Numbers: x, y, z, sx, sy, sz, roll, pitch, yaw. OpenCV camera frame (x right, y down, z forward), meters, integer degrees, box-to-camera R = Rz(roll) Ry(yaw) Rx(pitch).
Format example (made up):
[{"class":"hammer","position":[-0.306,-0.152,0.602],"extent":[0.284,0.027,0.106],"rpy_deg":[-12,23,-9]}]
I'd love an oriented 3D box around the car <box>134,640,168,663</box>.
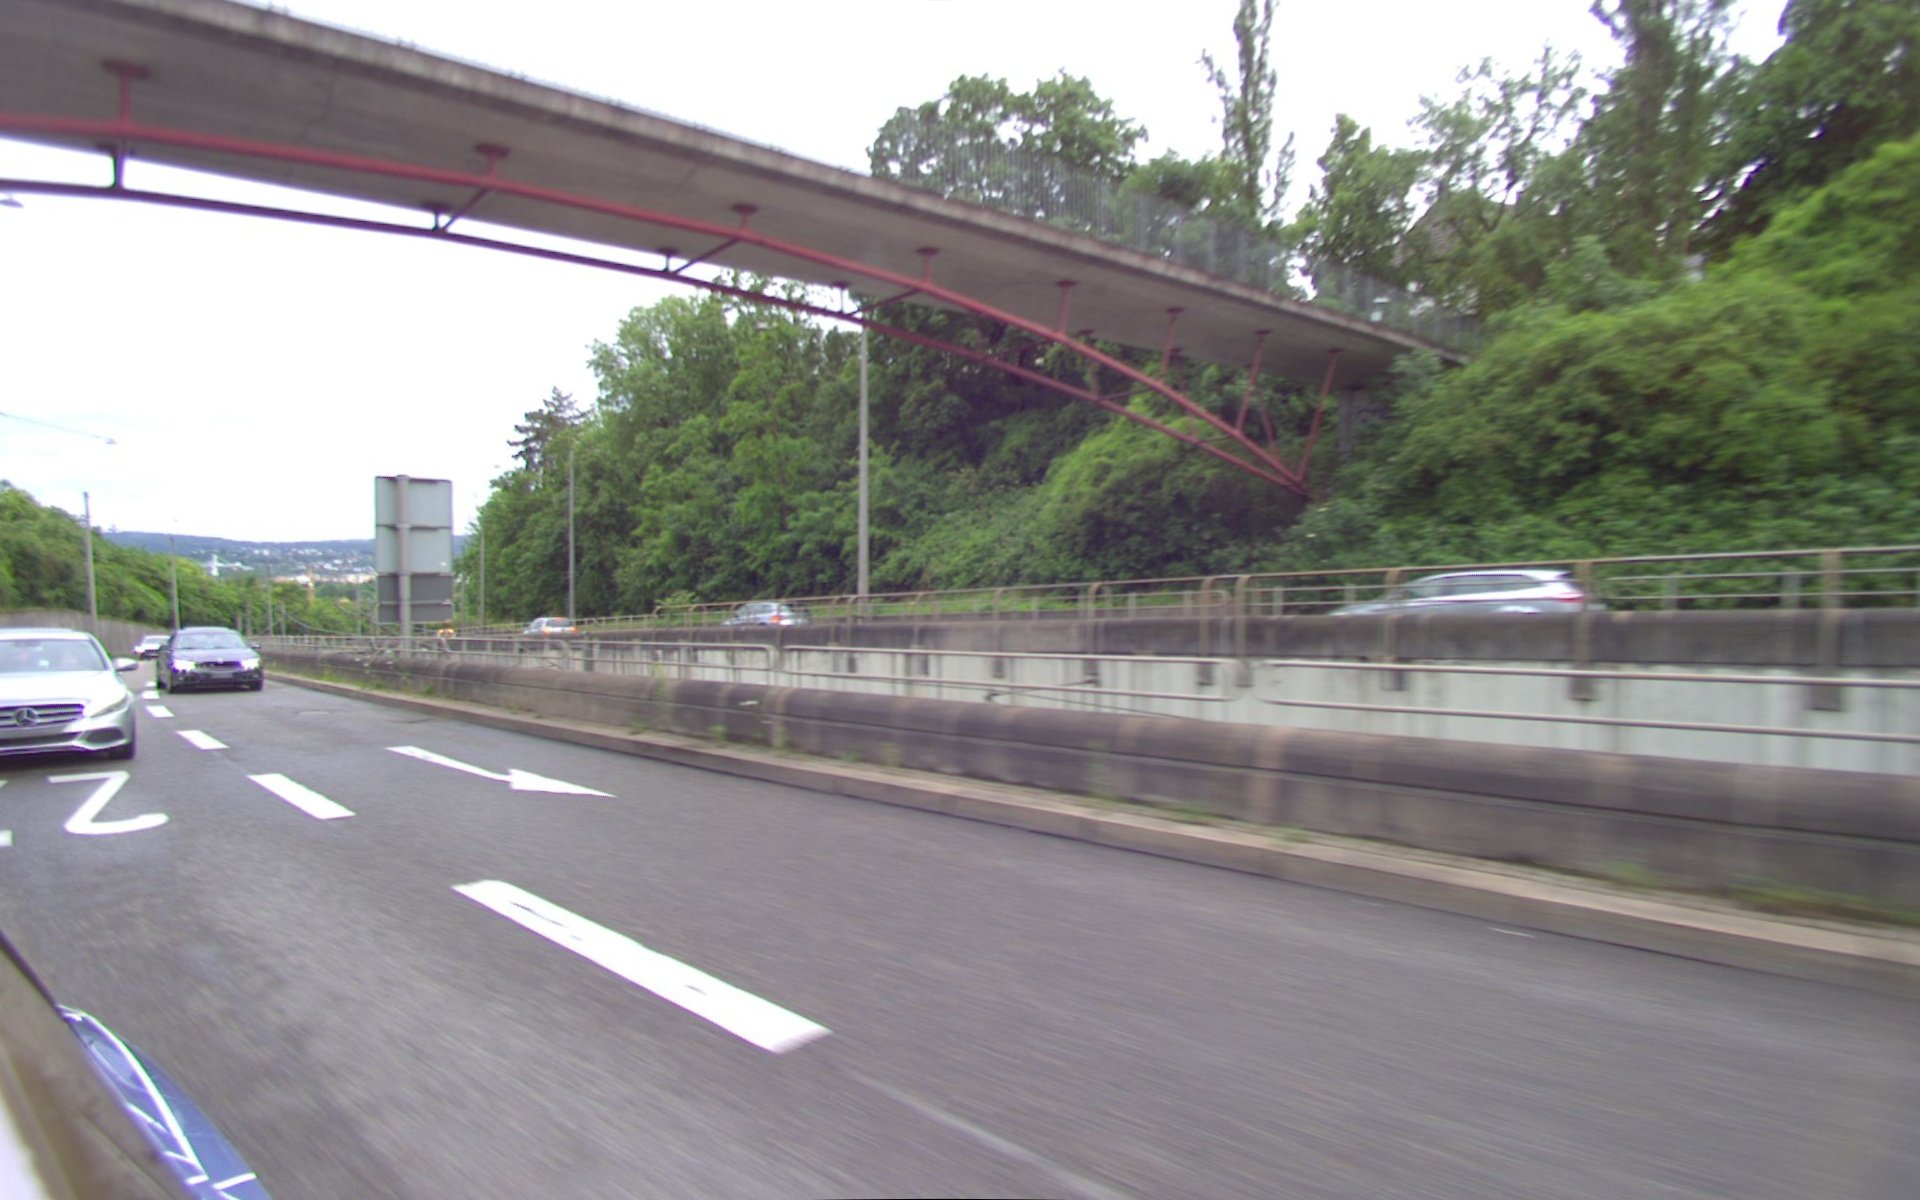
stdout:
[{"class":"car","position":[-61.707,3.904,77.246],"extent":[1.782,1.521,4.009],"rpy_deg":[-3,1,-36]}]

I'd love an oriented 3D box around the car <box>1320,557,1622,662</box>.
[{"class":"car","position":[9.490,0.219,19.082],"extent":[4.707,1.734,1.971],"rpy_deg":[-1,-2,45]}]

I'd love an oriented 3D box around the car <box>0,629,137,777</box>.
[{"class":"car","position":[-10.745,1.063,11.598],"extent":[1.834,1.413,4.320],"rpy_deg":[-1,-1,-42]}]

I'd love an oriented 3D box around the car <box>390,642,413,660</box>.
[{"class":"car","position":[-58.445,5.329,105.938],"extent":[1.933,1.763,4.154],"rpy_deg":[1,-2,-26]}]

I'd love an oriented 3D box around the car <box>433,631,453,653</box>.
[{"class":"car","position":[-67.582,5.474,132.268],"extent":[2.152,2.755,6.365],"rpy_deg":[1,-2,-28]}]

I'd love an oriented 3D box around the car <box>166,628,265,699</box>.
[{"class":"car","position":[-17.510,1.426,23.727],"extent":[1.703,1.482,3.894],"rpy_deg":[0,-2,-39]}]

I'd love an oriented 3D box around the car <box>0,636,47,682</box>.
[{"class":"car","position":[-35.082,2.164,37.049],"extent":[1.781,1.521,4.011],"rpy_deg":[-3,1,-33]}]

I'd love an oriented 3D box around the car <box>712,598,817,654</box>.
[{"class":"car","position":[-7.199,0.954,36.944],"extent":[1.650,1.930,4.565],"rpy_deg":[1,-2,-42]}]

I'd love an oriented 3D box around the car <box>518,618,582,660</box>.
[{"class":"car","position":[-18.949,1.812,46.696],"extent":[1.650,1.844,4.007],"rpy_deg":[1,-3,-39]}]
